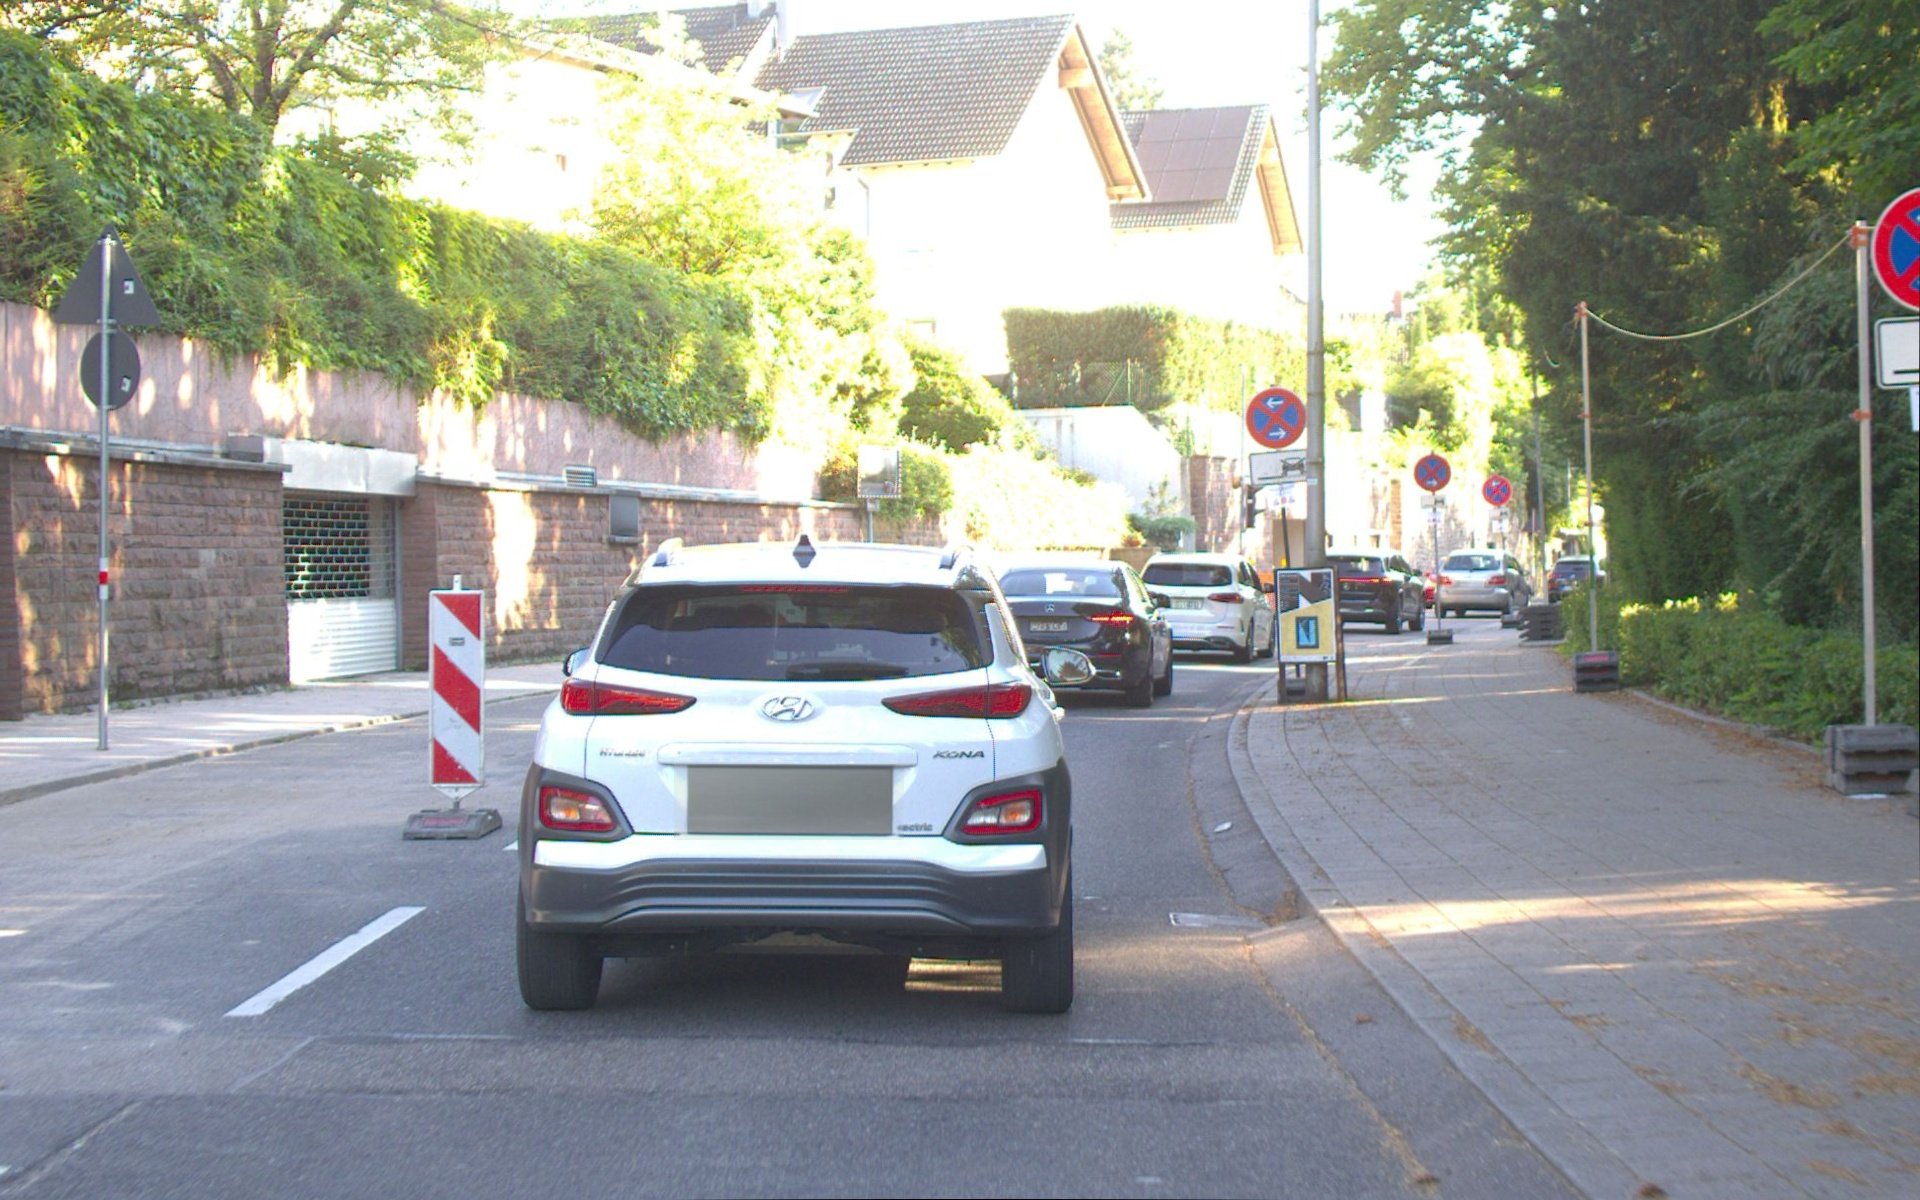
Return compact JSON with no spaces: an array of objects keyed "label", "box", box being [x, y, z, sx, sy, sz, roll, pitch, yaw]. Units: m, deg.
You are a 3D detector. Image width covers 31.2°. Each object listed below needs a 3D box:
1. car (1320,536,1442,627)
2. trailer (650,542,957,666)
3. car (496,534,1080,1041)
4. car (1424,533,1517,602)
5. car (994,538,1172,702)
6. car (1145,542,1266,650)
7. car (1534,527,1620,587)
[{"label":"car","box":[8.061,-0.377,65.551,1.695,1.528,3.879,-4,1,15]},{"label":"trailer","box":[-1.928,-0.002,45.531,2.641,1.484,7.116,1,1,9]},{"label":"car","box":[-0.563,0.544,12.562,1.772,1.537,4.000,1,1,-1]},{"label":"car","box":[11.973,-0.777,80.510,1.695,1.442,3.879,-3,1,14]},{"label":"car","box":[1.262,0.159,34.166,1.512,1.528,3.547,-1,1,6]},{"label":"car","box":[3.544,-0.084,49.231,1.571,1.472,3.547,0,1,7]},{"label":"car","box":[17.035,-1.198,94.857,1.695,1.499,3.627,-3,1,19]}]
